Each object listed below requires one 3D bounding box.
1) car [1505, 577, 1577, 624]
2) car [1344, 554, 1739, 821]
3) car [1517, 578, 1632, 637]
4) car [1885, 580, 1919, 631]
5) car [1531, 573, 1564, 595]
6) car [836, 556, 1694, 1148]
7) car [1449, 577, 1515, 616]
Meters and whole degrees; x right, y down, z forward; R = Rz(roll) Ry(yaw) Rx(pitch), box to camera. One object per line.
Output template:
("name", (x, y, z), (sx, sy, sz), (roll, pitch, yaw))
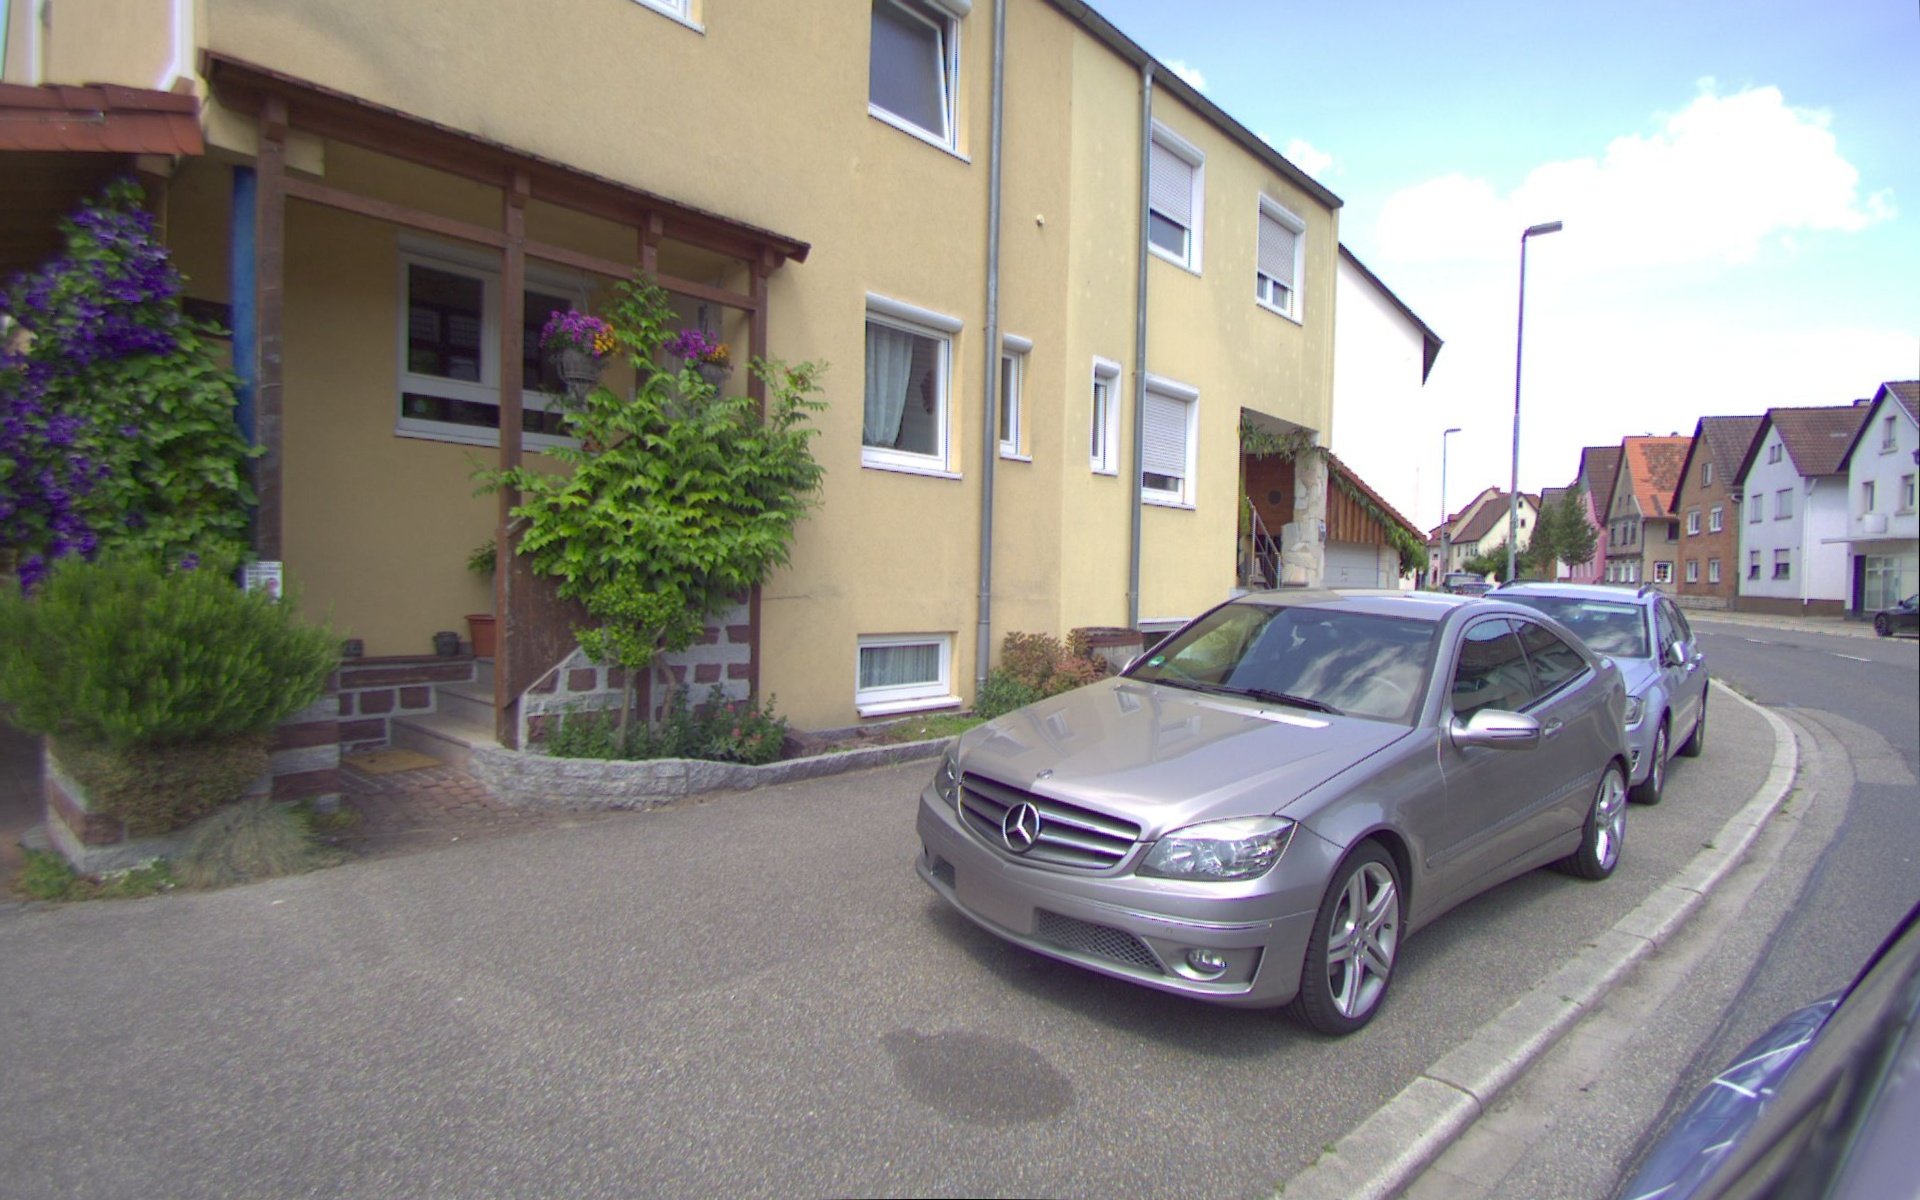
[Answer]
("car", (20.481, 0.026, 35.815), (1.754, 1.549, 3.967), (1, 0, 23))
("car", (4.980, 0.474, 8.364), (1.885, 1.548, 4.269), (5, 4, 42))
("car", (17.171, 0.143, 28.484), (1.704, 1.402, 3.981), (1, 3, 16))
("car", (27.738, 0.161, 27.938), (1.789, 1.438, 4.516), (0, 0, 22))
("car", (43.383, -1.210, 74.812), (1.665, 1.549, 3.474), (0, 2, 22))
("car", (1.729, 0.547, 4.654), (4.350, 1.416, 1.773), (-2, 6, -43))
("car", (23.381, -0.175, 45.460), (1.641, 1.668, 3.985), (0, 1, 13))
